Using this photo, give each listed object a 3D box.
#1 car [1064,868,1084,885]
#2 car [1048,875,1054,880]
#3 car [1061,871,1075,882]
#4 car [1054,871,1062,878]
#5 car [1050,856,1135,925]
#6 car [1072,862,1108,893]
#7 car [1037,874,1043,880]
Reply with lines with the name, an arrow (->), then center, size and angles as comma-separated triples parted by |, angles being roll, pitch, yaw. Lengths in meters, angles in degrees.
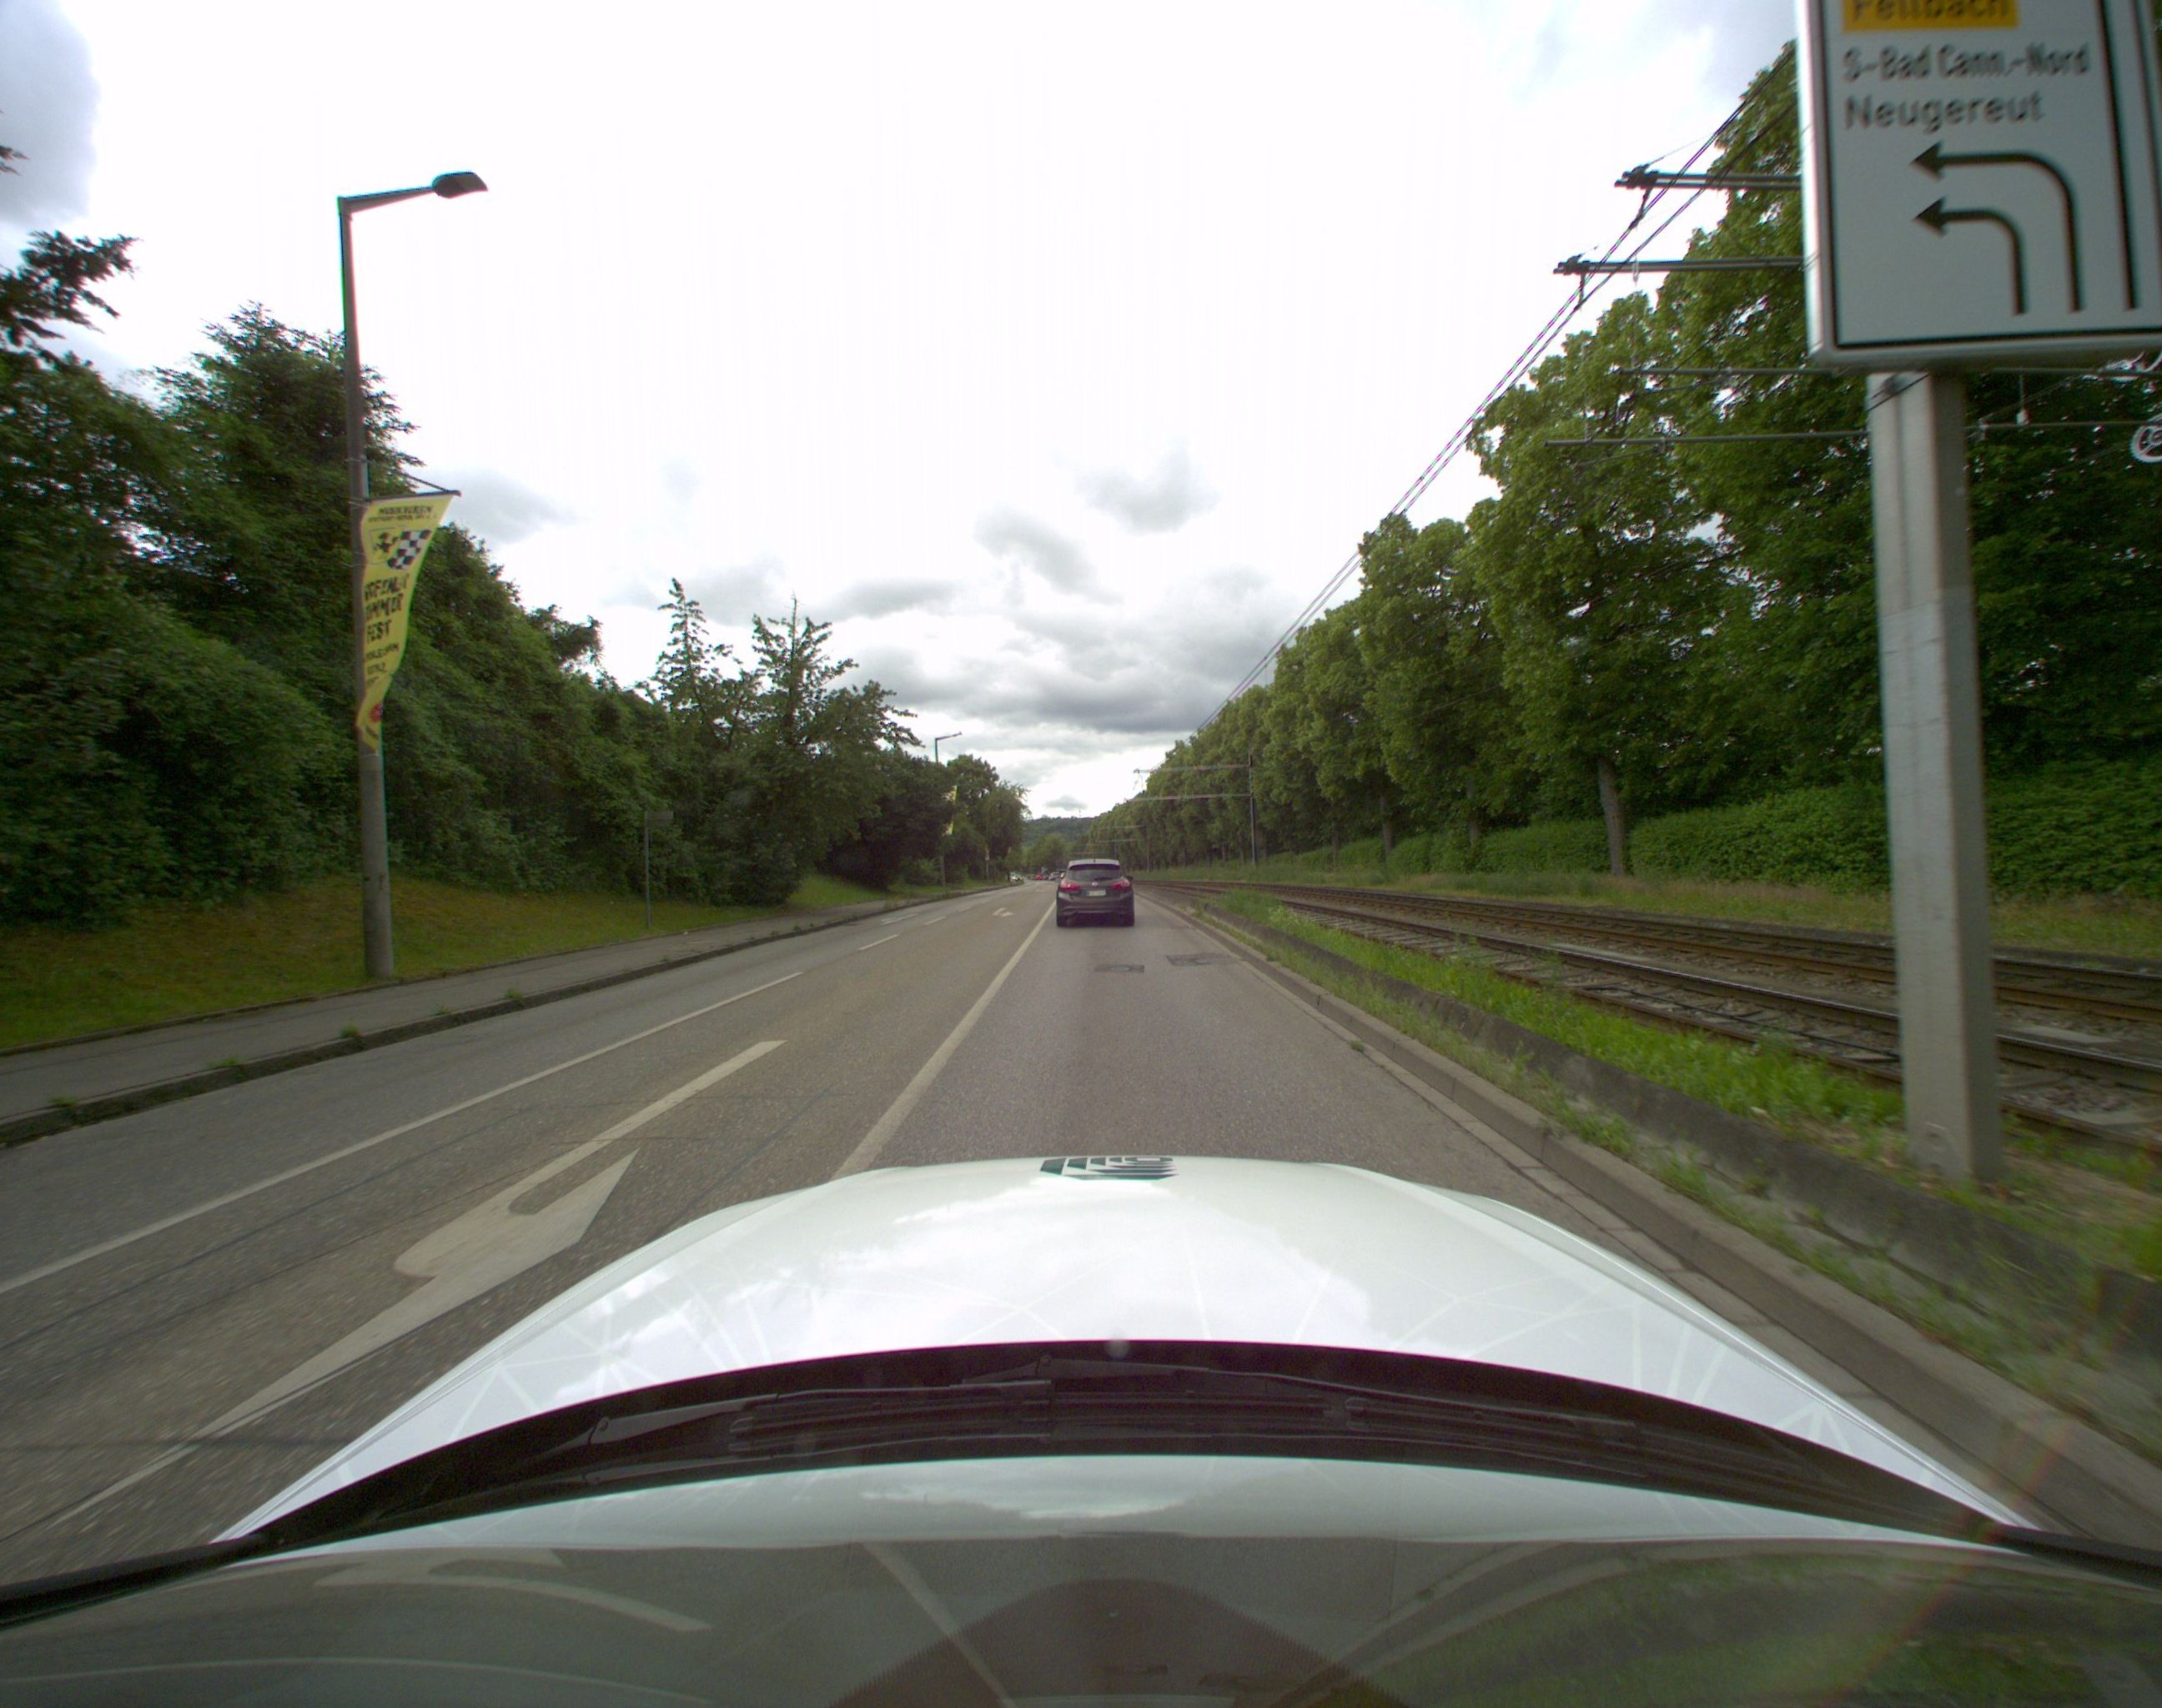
car -> -0.636, 2.032, 72.981 | 1.695, 1.444, 3.997 | -1, -2, -1
car -> -8.972, 7.092, 243.117 | 1.695, 1.476, 3.703 | -1, -2, -2
car -> -1.750, 2.981, 108.416 | 1.695, 1.444, 3.997 | -1, -2, -2
car -> -4.971, 4.487, 176.043 | 1.789, 1.510, 3.997 | -1, -2, -2
car -> 0.308, 0.819, 19.758 | 1.844, 1.493, 4.001 | 0, -1, 2
car -> 0.419, 1.193, 40.831 | 1.694, 1.444, 3.998 | -1, -2, 0
car -> -12.840, 7.202, 254.910 | 1.695, 1.714, 3.997 | -1, -2, -2
